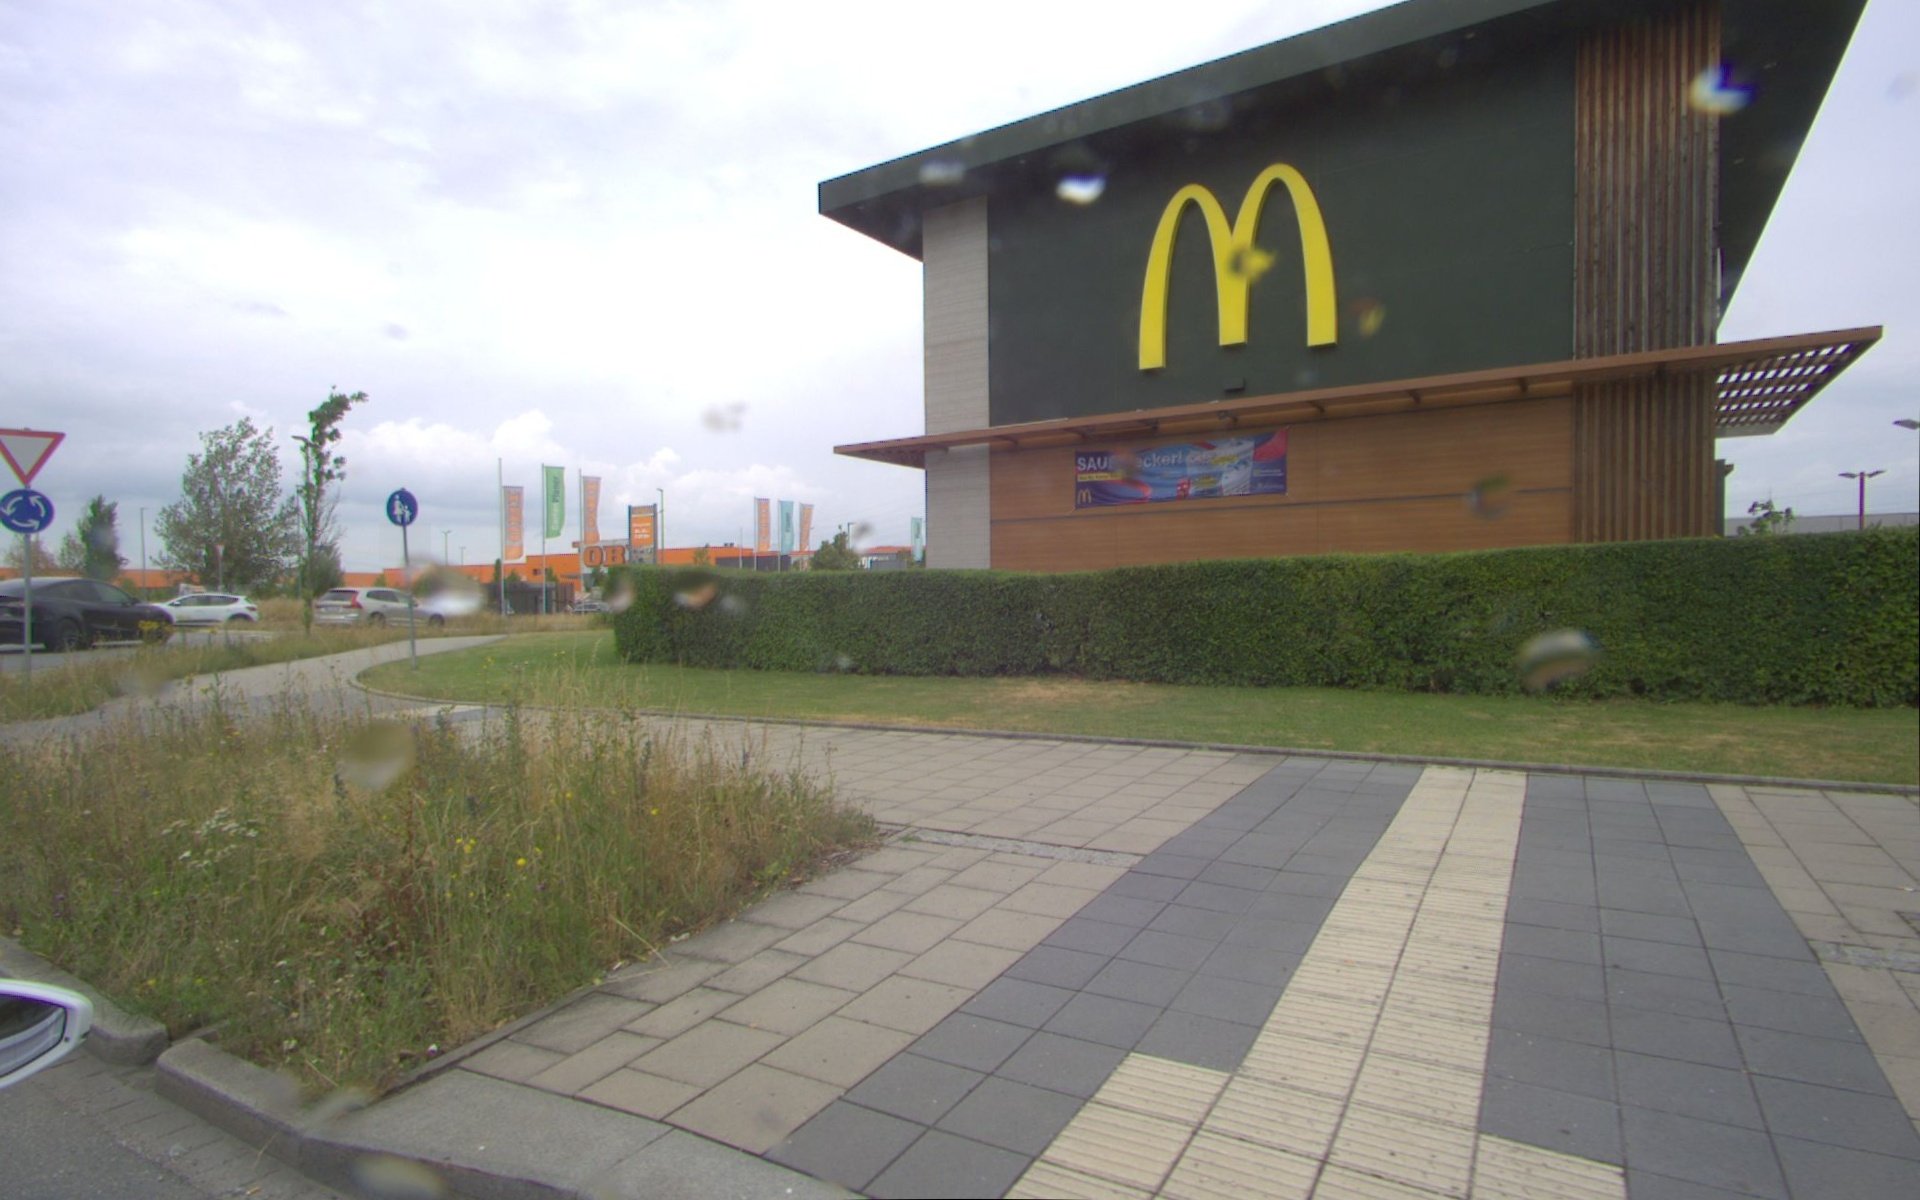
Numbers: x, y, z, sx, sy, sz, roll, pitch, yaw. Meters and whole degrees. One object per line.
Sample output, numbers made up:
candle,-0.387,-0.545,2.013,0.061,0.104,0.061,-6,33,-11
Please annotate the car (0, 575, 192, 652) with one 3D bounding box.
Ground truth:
car,-20.184,0.221,22.792,1.907,1.519,4.771,1,2,-3

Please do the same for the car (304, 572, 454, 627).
car,-20.289,-0.087,35.247,1.907,1.762,4.769,1,2,11

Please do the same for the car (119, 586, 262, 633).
car,-29.796,0.335,38.900,4.290,1.671,1.854,-1,3,-39
